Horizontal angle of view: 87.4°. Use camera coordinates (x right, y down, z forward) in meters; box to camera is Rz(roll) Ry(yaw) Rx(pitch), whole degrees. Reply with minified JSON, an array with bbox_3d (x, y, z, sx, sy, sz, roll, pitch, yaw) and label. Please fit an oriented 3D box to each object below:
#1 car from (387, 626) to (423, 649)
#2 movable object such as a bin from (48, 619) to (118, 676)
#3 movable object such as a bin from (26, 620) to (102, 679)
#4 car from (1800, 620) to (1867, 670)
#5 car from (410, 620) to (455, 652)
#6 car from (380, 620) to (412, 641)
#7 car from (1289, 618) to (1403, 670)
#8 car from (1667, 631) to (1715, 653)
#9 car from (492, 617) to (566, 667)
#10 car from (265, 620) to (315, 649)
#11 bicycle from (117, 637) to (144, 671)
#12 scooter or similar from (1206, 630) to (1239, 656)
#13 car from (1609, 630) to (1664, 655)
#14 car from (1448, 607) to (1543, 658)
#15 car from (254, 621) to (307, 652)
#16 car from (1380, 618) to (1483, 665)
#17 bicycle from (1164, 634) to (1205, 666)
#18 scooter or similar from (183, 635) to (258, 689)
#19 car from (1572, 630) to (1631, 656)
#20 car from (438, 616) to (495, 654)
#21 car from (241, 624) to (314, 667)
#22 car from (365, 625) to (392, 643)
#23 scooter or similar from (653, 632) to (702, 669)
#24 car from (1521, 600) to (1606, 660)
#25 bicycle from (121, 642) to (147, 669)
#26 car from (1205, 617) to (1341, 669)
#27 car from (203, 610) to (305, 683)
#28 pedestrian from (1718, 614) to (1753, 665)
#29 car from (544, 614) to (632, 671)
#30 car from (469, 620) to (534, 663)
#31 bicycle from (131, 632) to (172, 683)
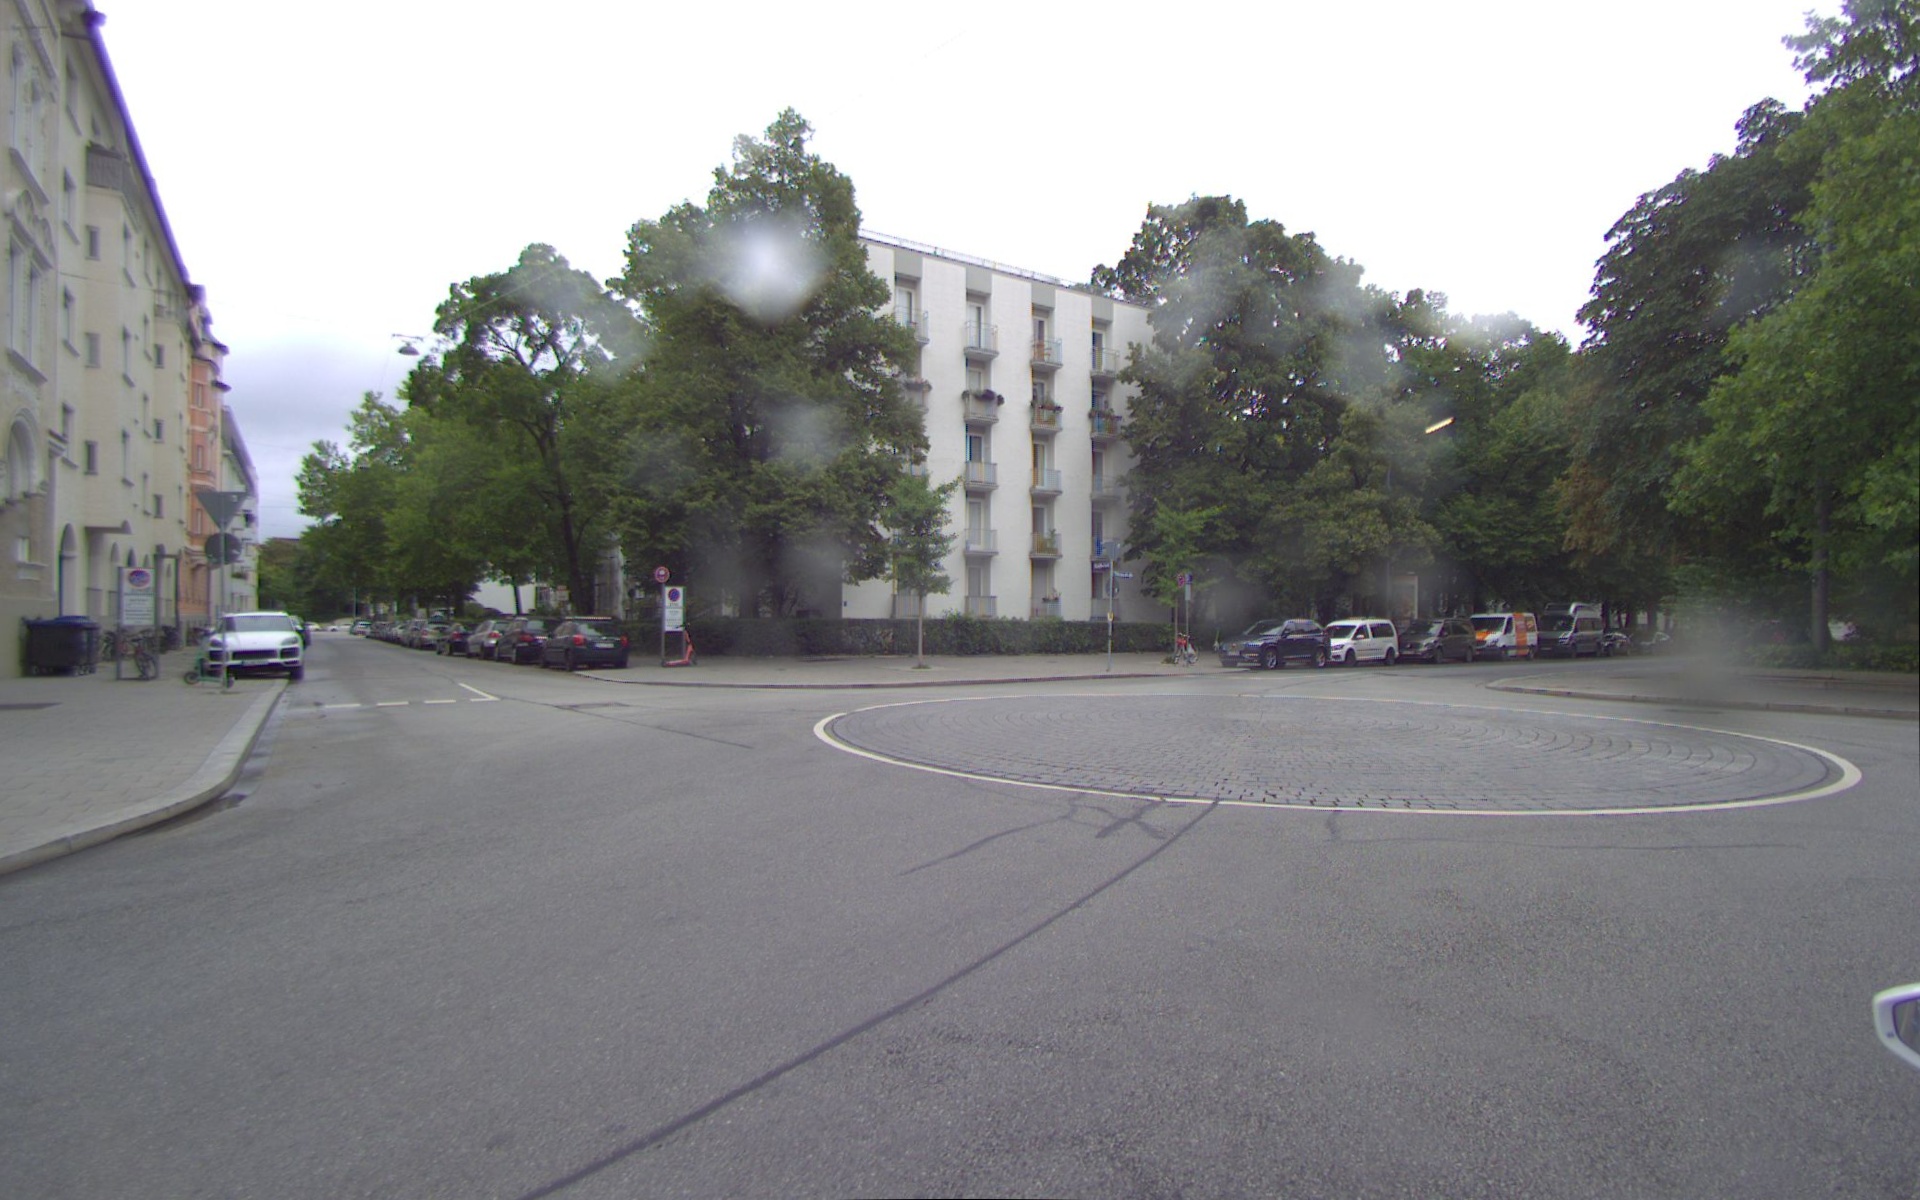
[{"bbox_3d":[-34.231,2.264,61.924,1.658,1.315,3.642,-2,0,-34],"label":"car"},{"bbox_3d":[-22.123,1.182,25.371,1.135,1.389,1.171,1,-1,-31],"label":"movable object such as a bin"},{"bbox_3d":[-21.548,1.172,24.192,1.135,1.389,1.171,1,-1,-31],"label":"movable object such as a bin"},{"bbox_3d":[48.136,2.435,55.315,5.386,2.592,1.977,1,-2,-40],"label":"car"},{"bbox_3d":[-26.972,1.819,51.314,1.658,1.476,3.642,-2,0,-34],"label":"car"},{"bbox_3d":[-39.349,2.121,70.053,1.658,1.315,3.642,-2,0,-34],"label":"car"},{"bbox_3d":[15.180,1.690,39.418,4.817,1.929,2.067,1,-2,-39],"label":"car"},{"bbox_3d":[51.156,2.911,70.249,4.100,1.506,1.975,2,-2,-43],"label":"car"},{"bbox_3d":[-14.665,1.400,34.089,1.658,1.548,3.642,-2,0,-34],"label":"car"},{"bbox_3d":[-33.923,1.729,50.879,1.979,1.393,4.141,1,-2,-34],"label":"car"},{"bbox_3d":[-27.689,1.777,33.523,0.649,1.083,1.793,1,-2,-41],"label":"bicycle"},{"bbox_3d":[12.232,1.986,46.833,1.645,1.207,0.695,1,-2,-42],"label":"scooter or similar"},{"bbox_3d":[41.218,2.582,61.167,4.100,1.439,1.975,2,-2,-43],"label":"car"},{"bbox_3d":[25.827,1.591,48.388,5.556,2.294,2.067,1,-3,-40],"label":"car"},{"bbox_3d":[-31.742,1.693,46.958,1.979,1.393,4.141,1,-2,-34],"label":"car"},{"bbox_3d":[20.572,1.810,43.691,5.624,1.933,2.008,2,-3,-42],"label":"car"},{"bbox_3d":[8.238,1.818,36.806,0.742,1.099,1.776,-1,-2,40],"label":"bicycle"},{"bbox_3d":[-15.745,1.309,21.394,1.319,1.123,0.543,0,-1,12],"label":"scooter or similar"},{"bbox_3d":[36.902,2.446,57.751,3.972,1.439,1.975,2,-2,-43],"label":"car"},{"bbox_3d":[-20.771,1.446,42.222,1.658,1.476,3.642,-2,0,-34],"label":"car"},{"bbox_3d":[-23.823,1.543,35.115,1.979,1.376,4.436,1,-2,-34],"label":"car"},{"bbox_3d":[-47.563,2.773,82.108,1.658,1.315,3.642,-2,0,-34],"label":"car"},{"bbox_3d":[-8.182,1.443,29.113,0.521,1.038,1.303,-1,-2,44],"label":"scooter or similar"},{"bbox_3d":[32.584,1.609,54.144,6.184,3.042,2.154,2,-2,-41],"label":"car"},{"bbox_3d":[-29.417,1.976,35.768,0.649,0.914,1.793,1,-2,-41],"label":"bicycle"},{"bbox_3d":[11.261,1.521,35.967,5.257,1.742,2.068,1,-2,-38],"label":"car"},{"bbox_3d":[-18.200,1.159,26.042,1.979,1.698,4.944,1,-2,-34],"label":"car"},{"bbox_3d":[28.760,1.471,37.265,0.806,1.860,0.952,0,-1,23],"label":"pedestrian"},{"bbox_3d":[-11.200,1.239,30.107,1.658,1.548,3.642,-2,0,-34],"label":"car"},{"bbox_3d":[-17.340,1.528,37.908,1.658,1.476,3.642,-2,0,-34],"label":"car"},{"bbox_3d":[-18.336,1.282,22.764,0.649,1.083,1.952,1,-2,-41],"label":"bicycle"}]
